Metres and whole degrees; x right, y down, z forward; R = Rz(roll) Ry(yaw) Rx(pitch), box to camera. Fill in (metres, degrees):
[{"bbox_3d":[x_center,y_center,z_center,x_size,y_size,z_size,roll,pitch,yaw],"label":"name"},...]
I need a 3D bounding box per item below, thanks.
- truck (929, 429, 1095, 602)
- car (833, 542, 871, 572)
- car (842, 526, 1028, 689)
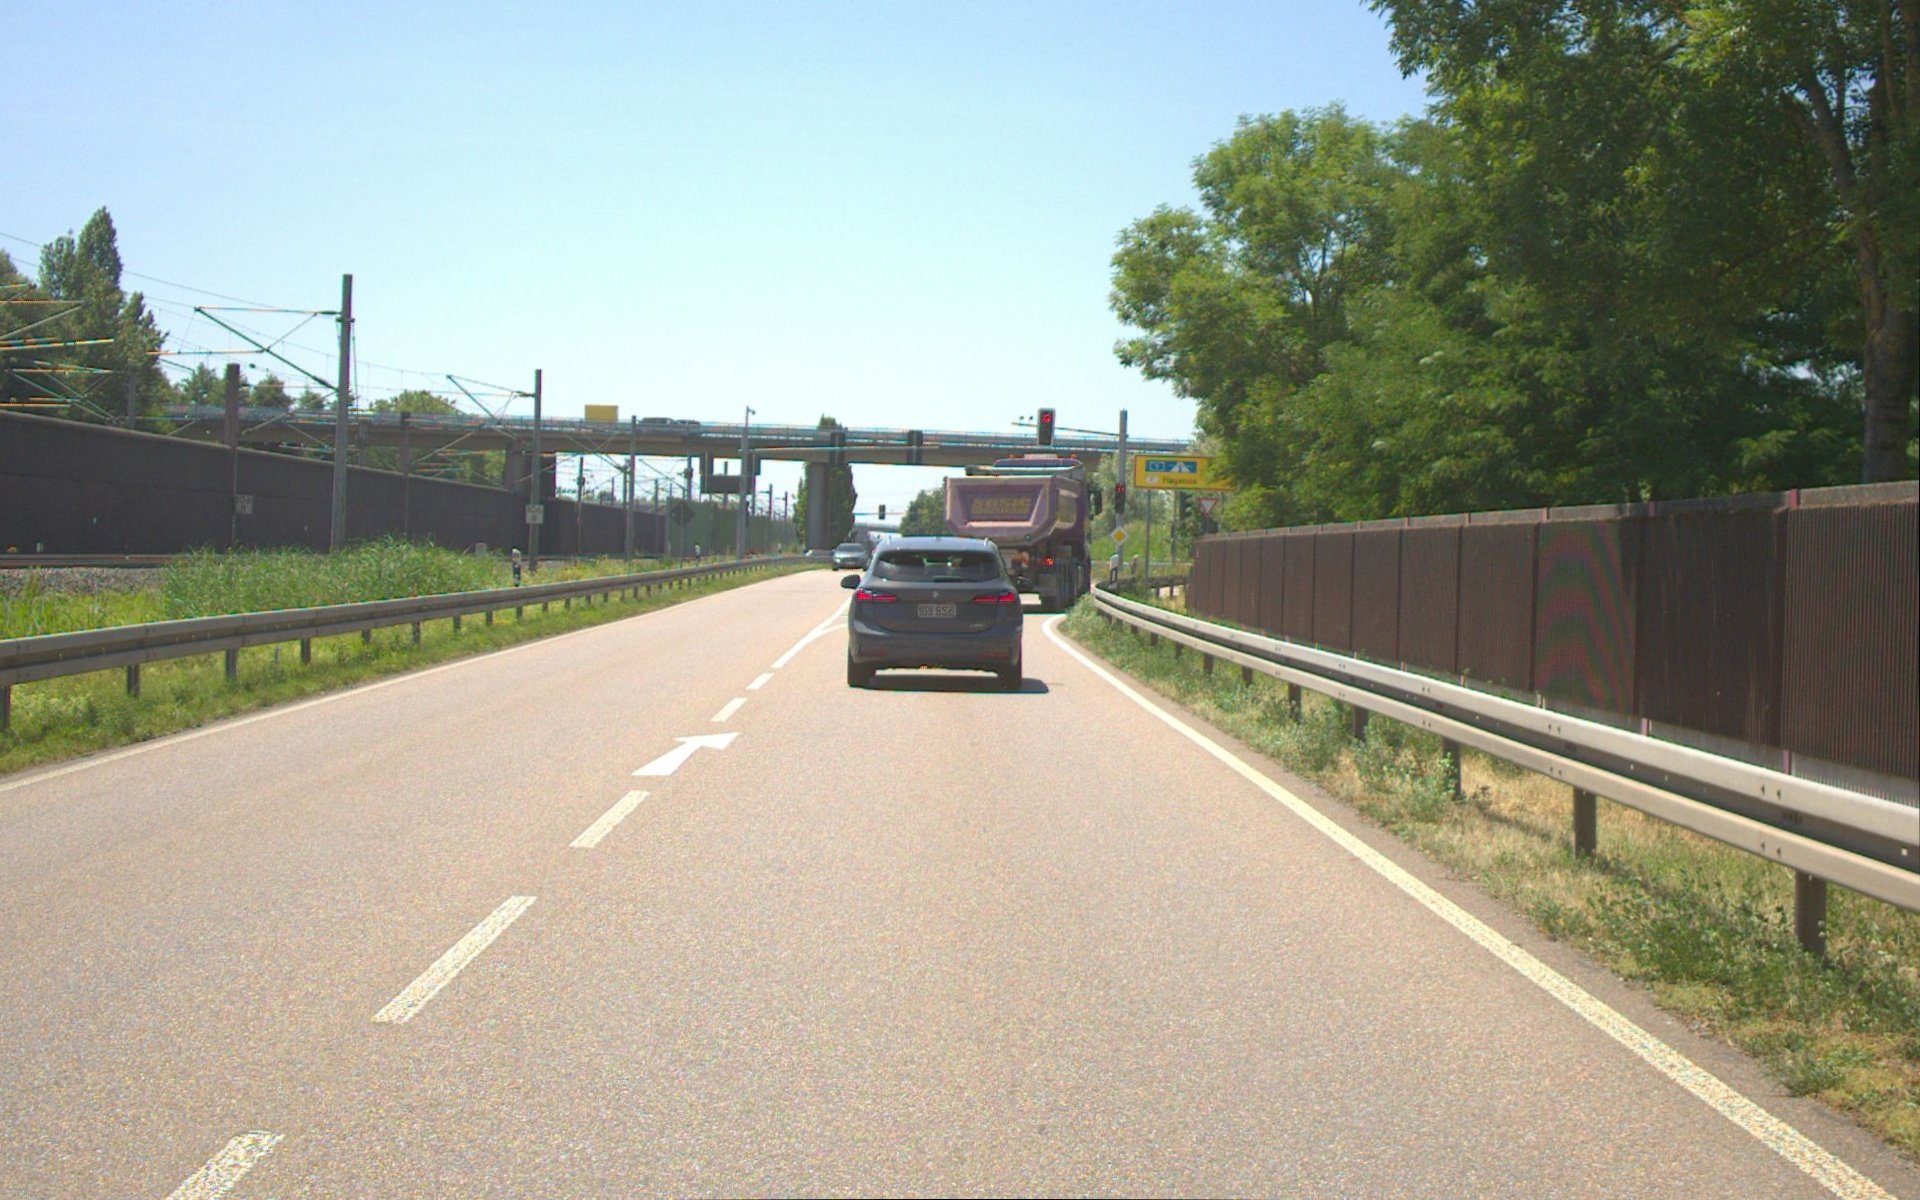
[{"bbox_3d":[1.381,-1.962,82.374,2.834,3.808,11.882,1,1,6],"label":"truck"},{"bbox_3d":[-5.690,-2.267,180.287,1.864,1.480,4.888,1,1,-3],"label":"car"},{"bbox_3d":[-0.265,0.041,36.708,1.844,1.617,4.226,1,1,0],"label":"car"}]
